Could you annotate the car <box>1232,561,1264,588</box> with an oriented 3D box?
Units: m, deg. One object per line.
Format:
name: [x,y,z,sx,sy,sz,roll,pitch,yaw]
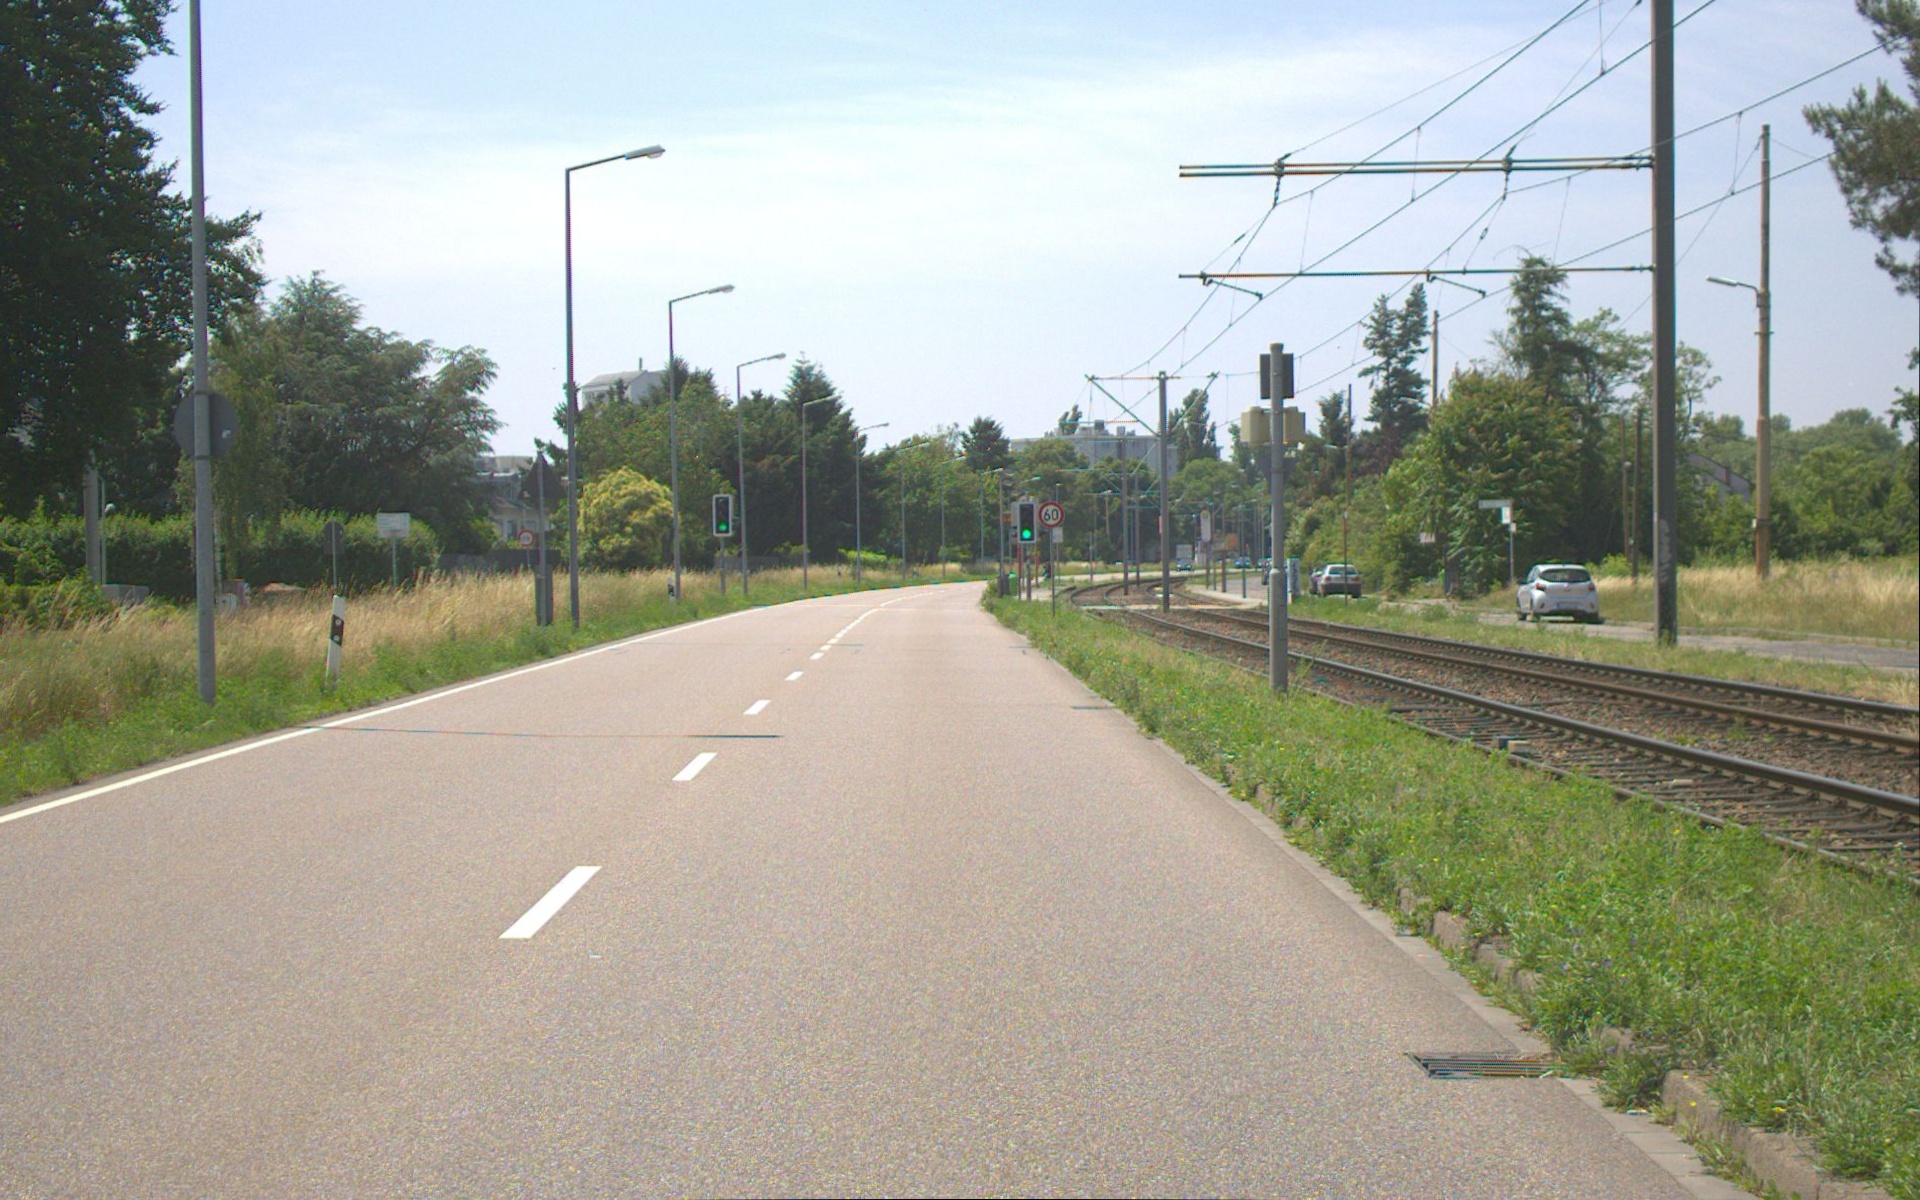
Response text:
car: [19.523,-1.724,232.952,1.757,1.744,4.000,-1,0,0]

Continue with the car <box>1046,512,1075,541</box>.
car: [5.836,-4.273,199.405,1.551,1.579,3.569,-1,0,0]

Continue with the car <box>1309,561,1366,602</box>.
car: [15.873,-0.772,144.811,1.915,1.656,4.000,-1,0,0]

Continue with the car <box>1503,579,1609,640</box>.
car: [15.449,0.244,89.331,1.993,1.503,4.000,-1,0,0]
